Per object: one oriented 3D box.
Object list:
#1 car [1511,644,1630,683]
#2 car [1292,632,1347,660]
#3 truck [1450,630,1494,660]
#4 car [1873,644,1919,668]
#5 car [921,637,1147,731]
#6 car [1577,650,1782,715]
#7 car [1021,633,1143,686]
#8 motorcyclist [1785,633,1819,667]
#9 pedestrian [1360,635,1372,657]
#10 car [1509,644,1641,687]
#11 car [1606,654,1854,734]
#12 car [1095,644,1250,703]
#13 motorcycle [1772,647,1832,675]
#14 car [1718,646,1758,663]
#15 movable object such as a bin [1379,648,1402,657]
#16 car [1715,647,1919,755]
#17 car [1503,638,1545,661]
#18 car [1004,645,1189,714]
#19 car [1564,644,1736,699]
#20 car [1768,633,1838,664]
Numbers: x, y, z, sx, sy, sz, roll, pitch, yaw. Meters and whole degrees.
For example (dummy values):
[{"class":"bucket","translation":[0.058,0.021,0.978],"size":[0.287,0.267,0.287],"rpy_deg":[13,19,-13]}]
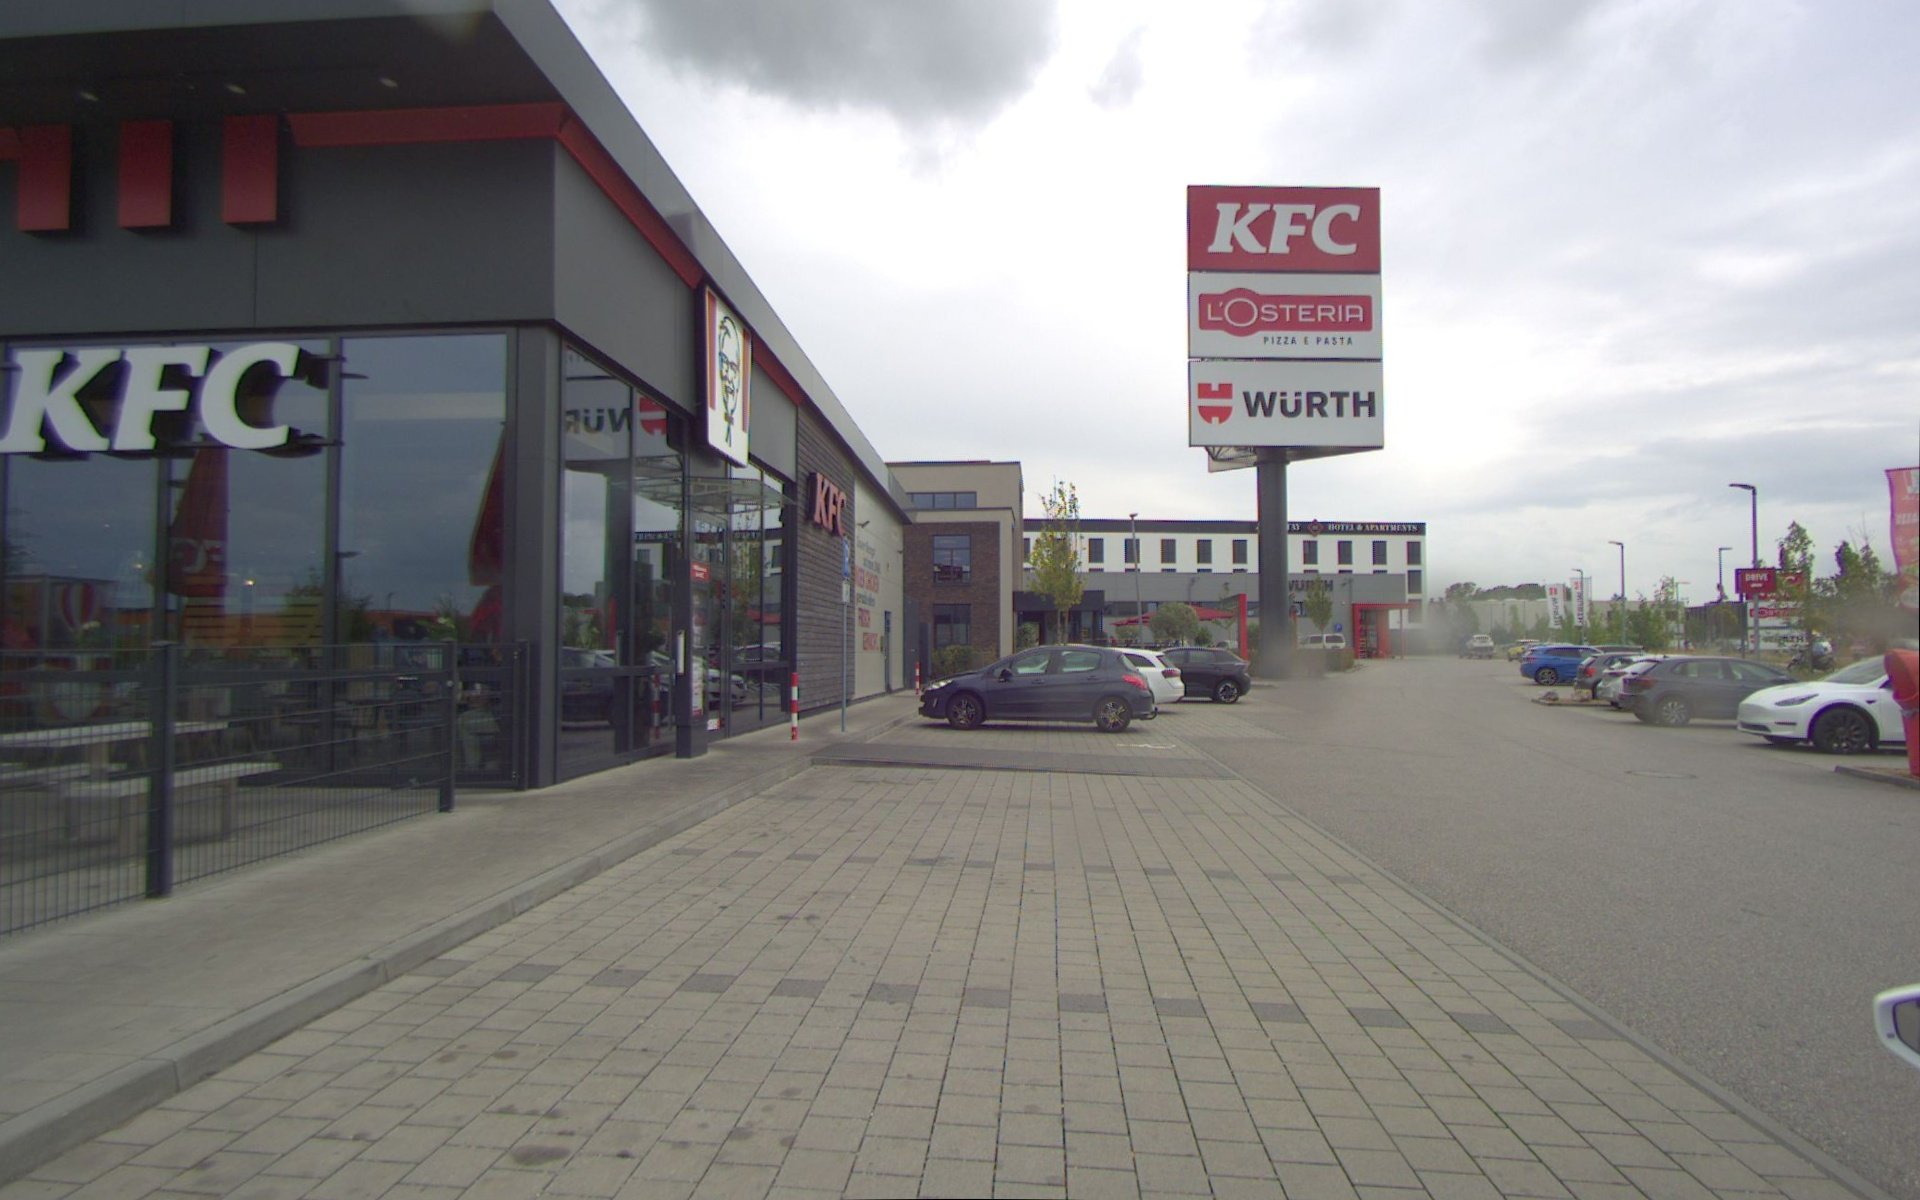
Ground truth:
[{"class":"car","translation":[24.891,2.606,41.106],"size":[4.001,1.478,1.773],"rpy_deg":[-2,-2,28]},{"class":"car","translation":[27.209,3.512,76.162],"size":[2.025,1.879,4.057],"rpy_deg":[-5,-3,-9]},{"class":"truck","translation":[47.529,4.211,93.443],"size":[2.292,2.437,7.904],"rpy_deg":[0,-5,17]},{"class":"car","translation":[58.925,3.477,62.427],"size":[1.734,1.413,4.219],"rpy_deg":[-1,-3,21]},{"class":"car","translation":[1.348,1.482,18.231],"size":[3.860,1.506,1.760],"rpy_deg":[1,-2,6]},{"class":"car","translation":[18.077,2.035,25.445],"size":[3.862,1.430,1.840],"rpy_deg":[1,-2,21]},{"class":"car","translation":[4.055,1.985,33.615],"size":[3.919,1.616,1.738],"rpy_deg":[-2,-3,6]},{"class":"motorcyclist","translation":[37.704,2.225,44.999],"size":[0.923,1.508,0.830],"rpy_deg":[-2,-3,22]},{"class":"pedestrian","translation":[34.190,3.906,84.682],"size":[0.665,1.826,0.881],"rpy_deg":[0,-2,2]},{"class":"car","translation":[23.709,2.509,38.900],"size":[4.137,1.564,1.863],"rpy_deg":[-1,-2,26]},{"class":"car","translation":[15.906,1.900,20.966],"size":[3.732,1.430,1.739],"rpy_deg":[1,-2,18]},{"class":"car","translation":[5.835,2.019,27.973],"size":[4.040,1.548,1.743],"rpy_deg":[0,-3,5]},{"class":"motorcycle","translation":[37.715,2.730,45.020],"size":[1.884,1.224,0.795],"rpy_deg":[-2,-3,22]},{"class":"car","translation":[62.785,4.406,81.085],"size":[1.437,1.354,3.165],"rpy_deg":[-1,-2,16]},{"class":"movable object such as a bin","translation":[35.333,4.315,82.426],"size":[1.463,0.713,0.965],"rpy_deg":[1,-3,2]},{"class":"car","translation":[15.012,1.588,15.929],"size":[4.454,1.561,1.927],"rpy_deg":[1,-2,16]},{"class":"car","translation":[43.438,3.835,77.421],"size":[1.825,1.671,4.003],"rpy_deg":[1,-3,14]},{"class":"car","translation":[3.142,1.819,23.523],"size":[4.095,1.505,2.001],"rpy_deg":[-1,-2,6]},{"class":"car","translation":[20.305,2.079,29.747],"size":[3.924,1.447,1.727],"rpy_deg":[0,-2,24]},{"class":"car","translation":[59.989,3.444,71.617],"size":[1.960,2.114,5.232],"rpy_deg":[-2,-2,18]}]
